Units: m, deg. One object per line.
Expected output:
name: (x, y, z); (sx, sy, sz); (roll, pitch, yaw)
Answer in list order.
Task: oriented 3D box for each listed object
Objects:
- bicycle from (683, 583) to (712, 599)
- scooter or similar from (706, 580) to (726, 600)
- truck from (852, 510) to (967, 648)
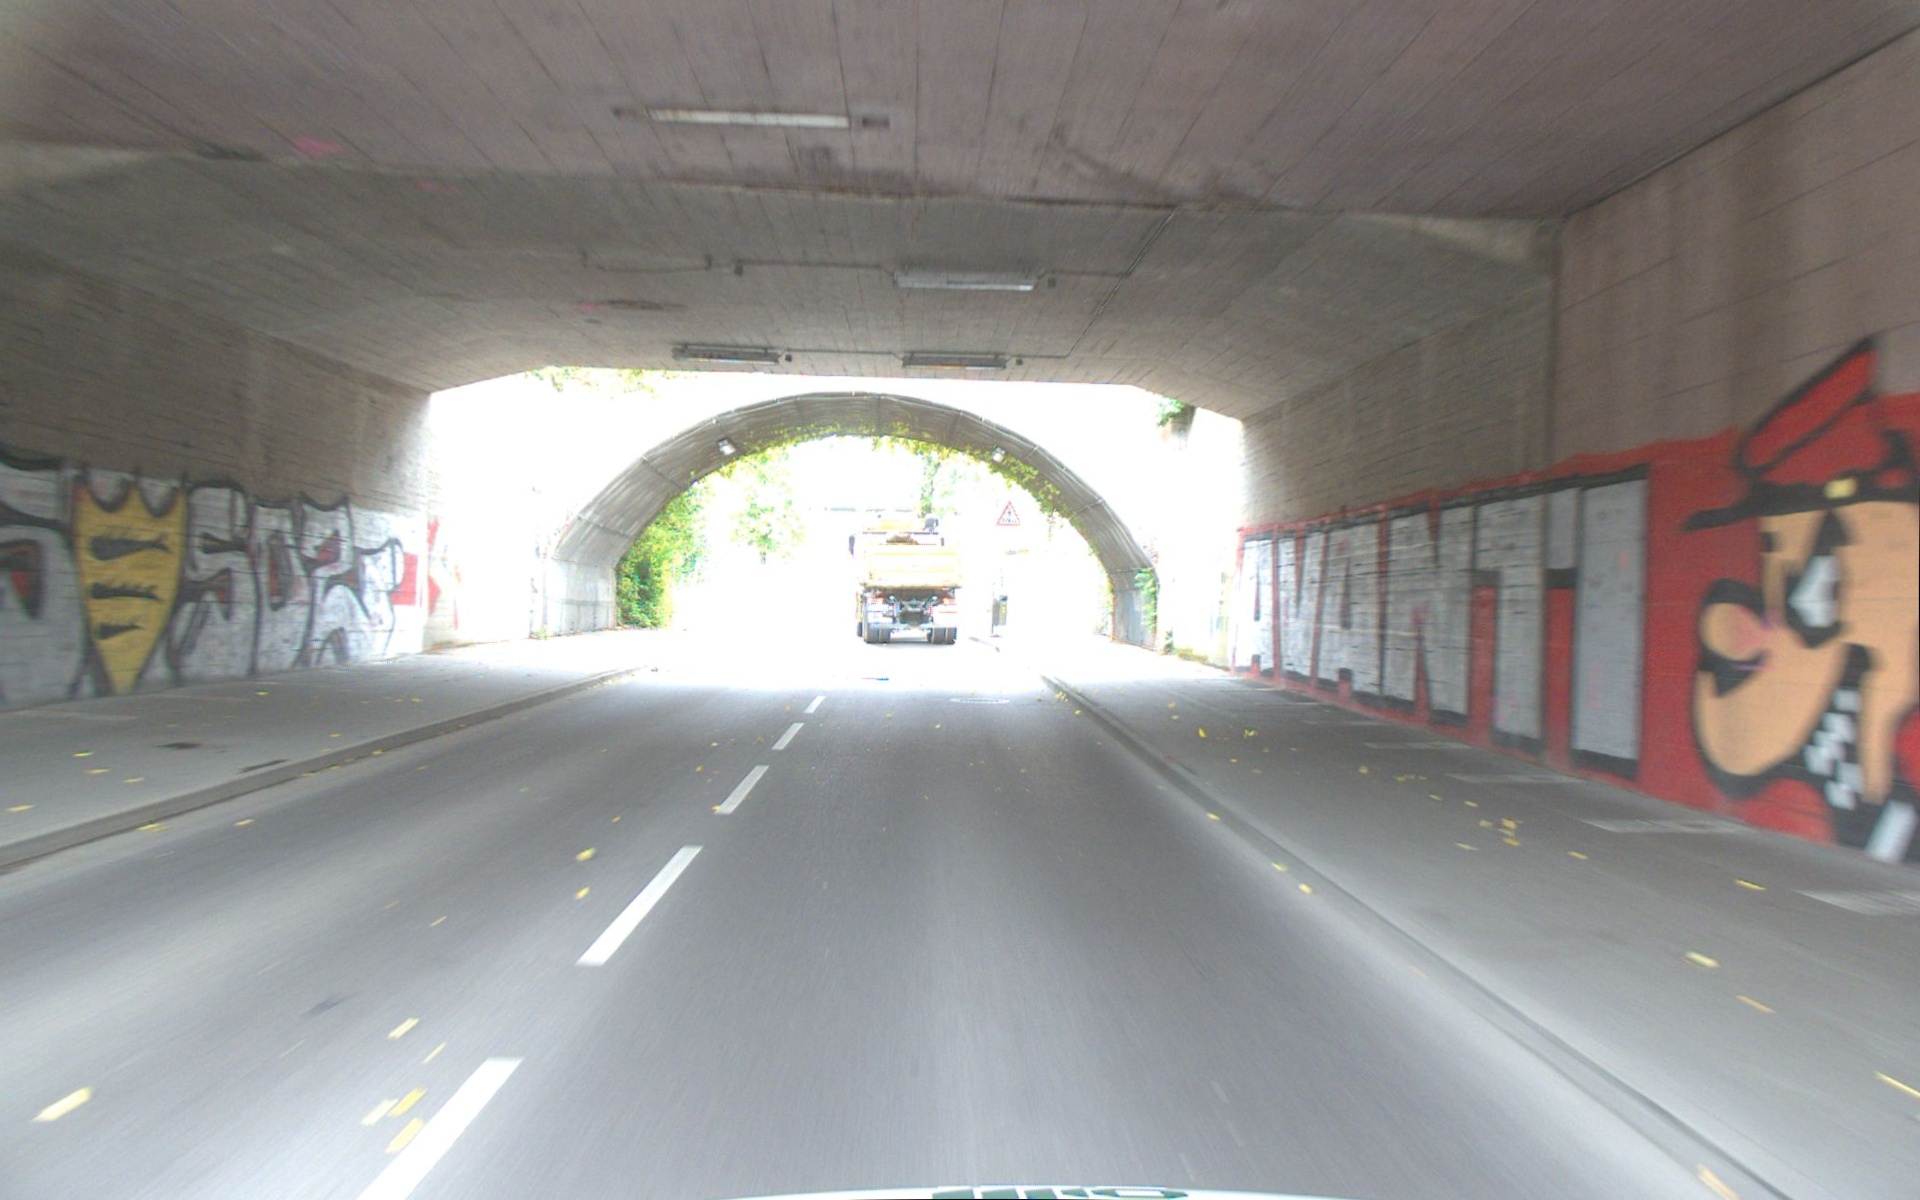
bicycle: (-17.775, -0.634, 111.978); (1.955, 0.880, 0.503); (7, -3, -42)
scooter or similar: (-16.456, -0.684, 111.567); (1.179, 1.227, 0.462); (6, -3, -38)
truck: (-1.556, -0.658, 46.629); (2.711, 3.544, 8.121); (0, 2, -5)
